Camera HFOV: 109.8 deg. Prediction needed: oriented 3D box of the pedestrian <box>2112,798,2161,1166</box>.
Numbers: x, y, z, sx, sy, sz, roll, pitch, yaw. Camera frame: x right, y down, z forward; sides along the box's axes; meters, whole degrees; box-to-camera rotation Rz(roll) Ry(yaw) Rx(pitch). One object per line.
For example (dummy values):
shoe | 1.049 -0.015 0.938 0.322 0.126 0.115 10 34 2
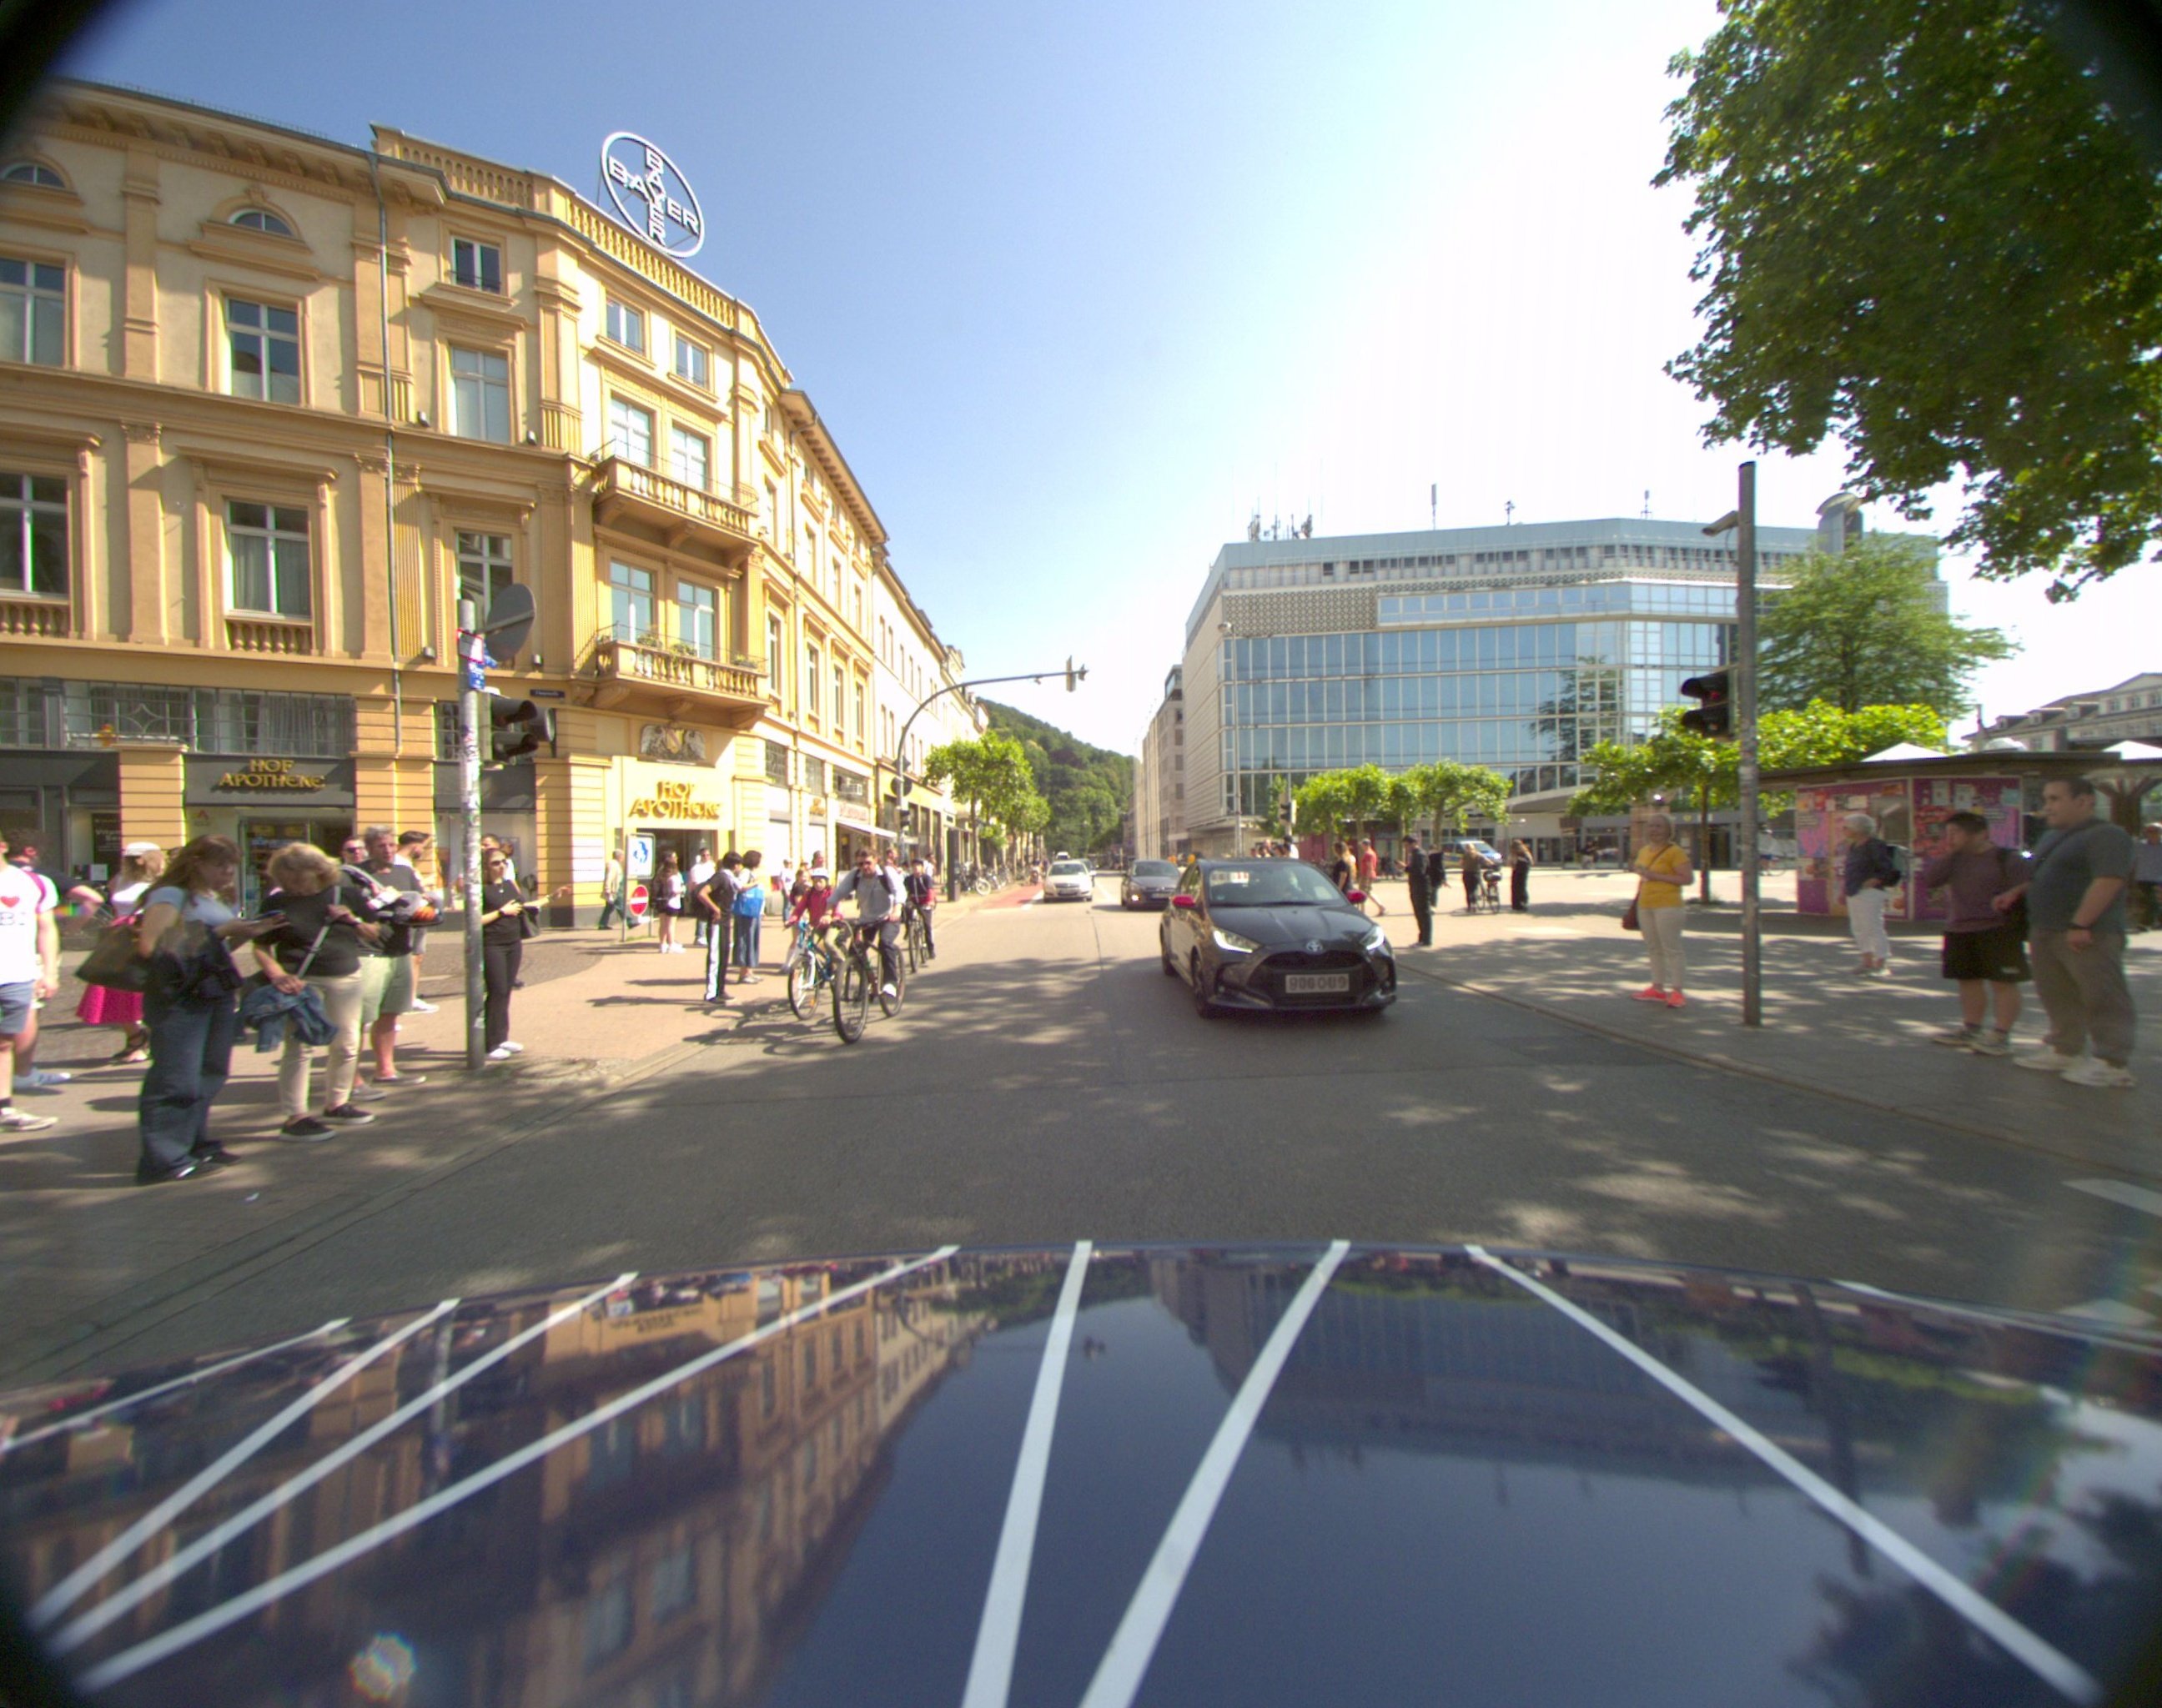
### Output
pedestrian | 5.392 0.611 3.492 0.537 1.773 0.745 -2 1 34

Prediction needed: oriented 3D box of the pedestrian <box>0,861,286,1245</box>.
pedestrian | -4.548 0.892 3.700 0.578 1.675 0.622 -3 1 -4

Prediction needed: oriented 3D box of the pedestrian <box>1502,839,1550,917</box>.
pedestrian | 10.152 0.535 17.358 0.732 1.737 0.640 -3 1 13

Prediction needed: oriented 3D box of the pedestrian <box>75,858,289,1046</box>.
pedestrian | -9.156 0.938 7.808 0.621 1.748 1.187 -3 1 7

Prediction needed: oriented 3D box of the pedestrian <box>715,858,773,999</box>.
pedestrian | -4.307 0.928 9.727 0.606 1.725 0.647 2 0 -23

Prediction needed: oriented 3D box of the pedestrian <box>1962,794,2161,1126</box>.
pedestrian | 6.039 0.586 4.568 0.595 1.835 0.738 0 1 -2

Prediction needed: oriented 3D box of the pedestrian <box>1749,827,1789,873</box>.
pedestrian | 27.247 -0.152 30.106 0.876 1.737 0.733 -3 1 -2

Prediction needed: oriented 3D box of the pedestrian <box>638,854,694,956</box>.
pedestrian | -7.223 0.864 13.234 0.578 1.716 0.622 -1 1 0

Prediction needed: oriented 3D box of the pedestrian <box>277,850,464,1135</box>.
pedestrian | -4.702 0.859 5.078 0.578 1.774 0.699 0 1 -4

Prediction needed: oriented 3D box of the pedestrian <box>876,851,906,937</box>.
pedestrian | -4.167 0.867 16.717 0.578 1.863 0.680 1 0 -12

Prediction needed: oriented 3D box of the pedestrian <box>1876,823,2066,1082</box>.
pedestrian | 6.184 0.647 5.313 0.604 1.705 0.606 -1 1 -2

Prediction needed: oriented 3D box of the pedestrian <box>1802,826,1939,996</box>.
pedestrian | 8.565 0.593 8.266 0.752 1.737 0.666 -3 1 -2

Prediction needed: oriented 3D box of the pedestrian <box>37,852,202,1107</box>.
pedestrian | -7.373 0.908 5.867 0.623 1.806 0.631 -4 2 -44

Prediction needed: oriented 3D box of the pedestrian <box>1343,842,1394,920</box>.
pedestrian | 6.613 0.609 17.510 0.751 1.737 0.732 -3 1 -10

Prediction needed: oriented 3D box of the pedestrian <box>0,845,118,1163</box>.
pedestrian | -6.230 0.830 4.320 0.578 1.730 0.622 -3 1 -4

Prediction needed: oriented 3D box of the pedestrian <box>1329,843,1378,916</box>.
pedestrian | 6.823 0.627 19.029 0.876 1.737 0.733 -3 1 -2

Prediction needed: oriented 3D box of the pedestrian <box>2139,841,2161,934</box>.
pedestrian | 18.241 0.542 12.590 0.753 1.498 0.781 -4 1 -38

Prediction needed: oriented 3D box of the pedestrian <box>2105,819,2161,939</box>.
pedestrian | 16.207 0.360 11.345 0.751 1.737 0.782 -3 1 -2

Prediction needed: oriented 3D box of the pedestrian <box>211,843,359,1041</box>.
pedestrian | -7.784 0.826 7.462 0.665 1.835 0.622 -3 1 0

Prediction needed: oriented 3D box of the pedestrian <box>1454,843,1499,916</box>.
pedestrian | 9.315 0.597 17.922 0.732 1.660 0.640 -3 1 13

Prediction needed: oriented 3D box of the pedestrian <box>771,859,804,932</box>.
pedestrian | -6.813 0.945 17.660 0.578 1.650 0.621 -1 1 -12

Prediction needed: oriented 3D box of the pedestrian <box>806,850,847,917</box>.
pedestrian | -6.993 0.800 20.892 0.757 1.782 0.860 -1 1 5

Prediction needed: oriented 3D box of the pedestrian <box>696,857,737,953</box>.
pedestrian | -6.482 0.892 13.512 0.444 1.679 0.478 -1 1 0

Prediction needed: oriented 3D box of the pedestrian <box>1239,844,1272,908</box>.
pedestrian | 4.912 0.618 21.397 0.731 1.737 0.640 -2 1 24

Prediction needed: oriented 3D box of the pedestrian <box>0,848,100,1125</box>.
pedestrian | -7.373 0.872 5.054 0.650 1.793 0.699 -3 1 -2

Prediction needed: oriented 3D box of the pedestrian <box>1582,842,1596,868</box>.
pedestrian | 28.991 0.079 43.359 0.464 1.464 0.401 -3 1 -17

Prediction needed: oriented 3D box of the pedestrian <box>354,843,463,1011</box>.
pedestrian | -7.724 0.810 8.753 0.578 1.835 0.622 -3 1 0

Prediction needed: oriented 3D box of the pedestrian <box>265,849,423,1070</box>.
pedestrian | -6.363 0.865 6.602 0.578 1.792 0.696 -3 1 -4

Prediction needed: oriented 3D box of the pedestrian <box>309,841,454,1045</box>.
pedestrian | -6.690 0.819 7.305 0.686 1.847 0.622 -3 1 -4

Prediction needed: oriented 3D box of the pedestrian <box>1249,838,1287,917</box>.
pedestrian | 4.684 0.564 19.109 0.639 1.909 0.860 -3 1 -2

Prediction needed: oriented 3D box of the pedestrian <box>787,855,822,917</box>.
pedestrian | -7.674 0.887 21.098 0.686 1.675 0.579 -1 1 27

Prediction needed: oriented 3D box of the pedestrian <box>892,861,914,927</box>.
pedestrian | -4.435 0.986 18.944 0.531 1.586 0.588 1 1 -12

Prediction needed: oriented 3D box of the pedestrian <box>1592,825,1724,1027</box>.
pedestrian | 5.274 0.627 6.984 0.612 1.737 0.752 -2 1 -2

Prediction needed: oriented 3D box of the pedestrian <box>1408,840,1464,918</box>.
pedestrian | 8.245 0.561 17.668 0.722 1.737 0.884 -3 1 -10

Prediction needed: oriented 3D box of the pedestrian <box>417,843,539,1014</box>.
pedestrian | -6.943 0.819 8.771 0.621 1.835 0.856 -2 1 33

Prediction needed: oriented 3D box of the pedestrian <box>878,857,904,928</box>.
pedestrian | -4.594 0.916 18.425 0.578 1.674 0.676 0 0 -12

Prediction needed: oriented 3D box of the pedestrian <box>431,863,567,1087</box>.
pedestrian | -4.607 0.916 6.058 0.578 1.675 0.669 1 1 -4

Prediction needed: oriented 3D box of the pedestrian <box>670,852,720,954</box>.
pedestrian | -7.018 0.870 13.842 0.578 1.804 0.605 1 1 1

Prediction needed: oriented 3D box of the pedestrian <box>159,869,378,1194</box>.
pedestrian | -4.500 0.932 4.252 0.569 1.675 0.590 0 1 -4

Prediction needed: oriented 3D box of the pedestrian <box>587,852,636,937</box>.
pedestrian | -10.284 0.861 16.676 0.749 1.795 0.733 -1 1 -21

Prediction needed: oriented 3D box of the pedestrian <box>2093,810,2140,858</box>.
pedestrian | 38.445 -0.739 28.215 0.752 1.737 0.782 -3 1 -11

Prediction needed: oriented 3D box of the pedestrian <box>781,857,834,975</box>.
pedestrian | -4.123 0.922 11.480 0.578 1.720 0.718 1 -1 -8

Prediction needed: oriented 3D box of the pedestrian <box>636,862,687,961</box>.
pedestrian | -6.938 0.939 12.594 0.513 1.594 0.534 -1 1 0

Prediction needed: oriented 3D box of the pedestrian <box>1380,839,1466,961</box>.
pedestrian | 5.121 0.665 11.410 0.876 1.737 0.733 -3 1 -2

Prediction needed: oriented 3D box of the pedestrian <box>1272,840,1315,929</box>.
pedestrian | 4.723 0.662 16.905 0.639 1.903 0.733 -3 1 -2

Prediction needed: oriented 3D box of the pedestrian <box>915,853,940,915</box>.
pedestrian | -4.466 0.858 22.078 0.651 1.770 0.621 0 2 -16

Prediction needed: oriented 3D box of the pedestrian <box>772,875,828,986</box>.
pedestrian | -3.958 1.054 10.756 0.673 1.488 0.637 0 1 -15
